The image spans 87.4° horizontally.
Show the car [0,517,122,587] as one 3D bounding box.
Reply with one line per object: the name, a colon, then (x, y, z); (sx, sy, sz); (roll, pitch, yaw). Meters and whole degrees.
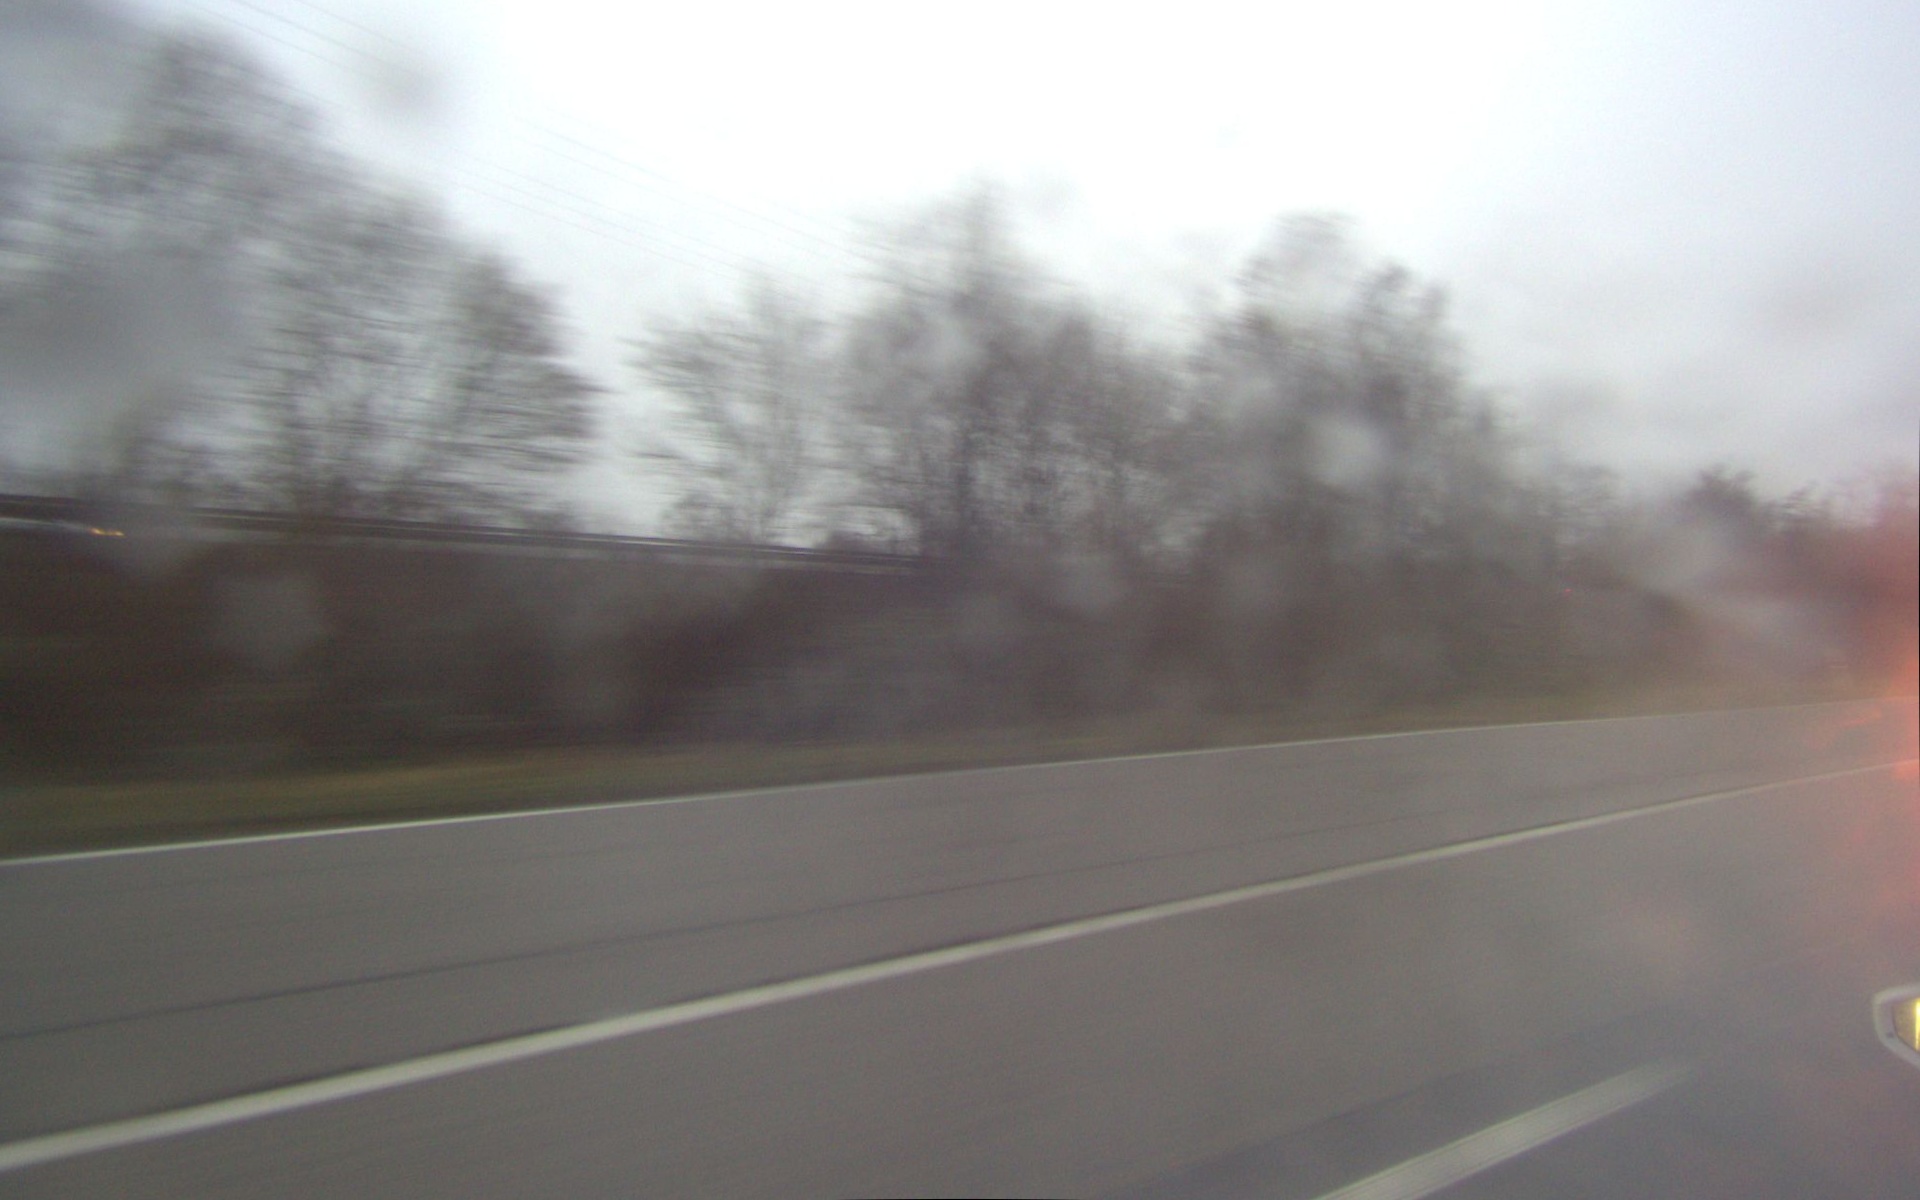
car: (-28.975, -1.503, 31.541); (3.973, 2.040, 1.861); (1, 1, -44)
